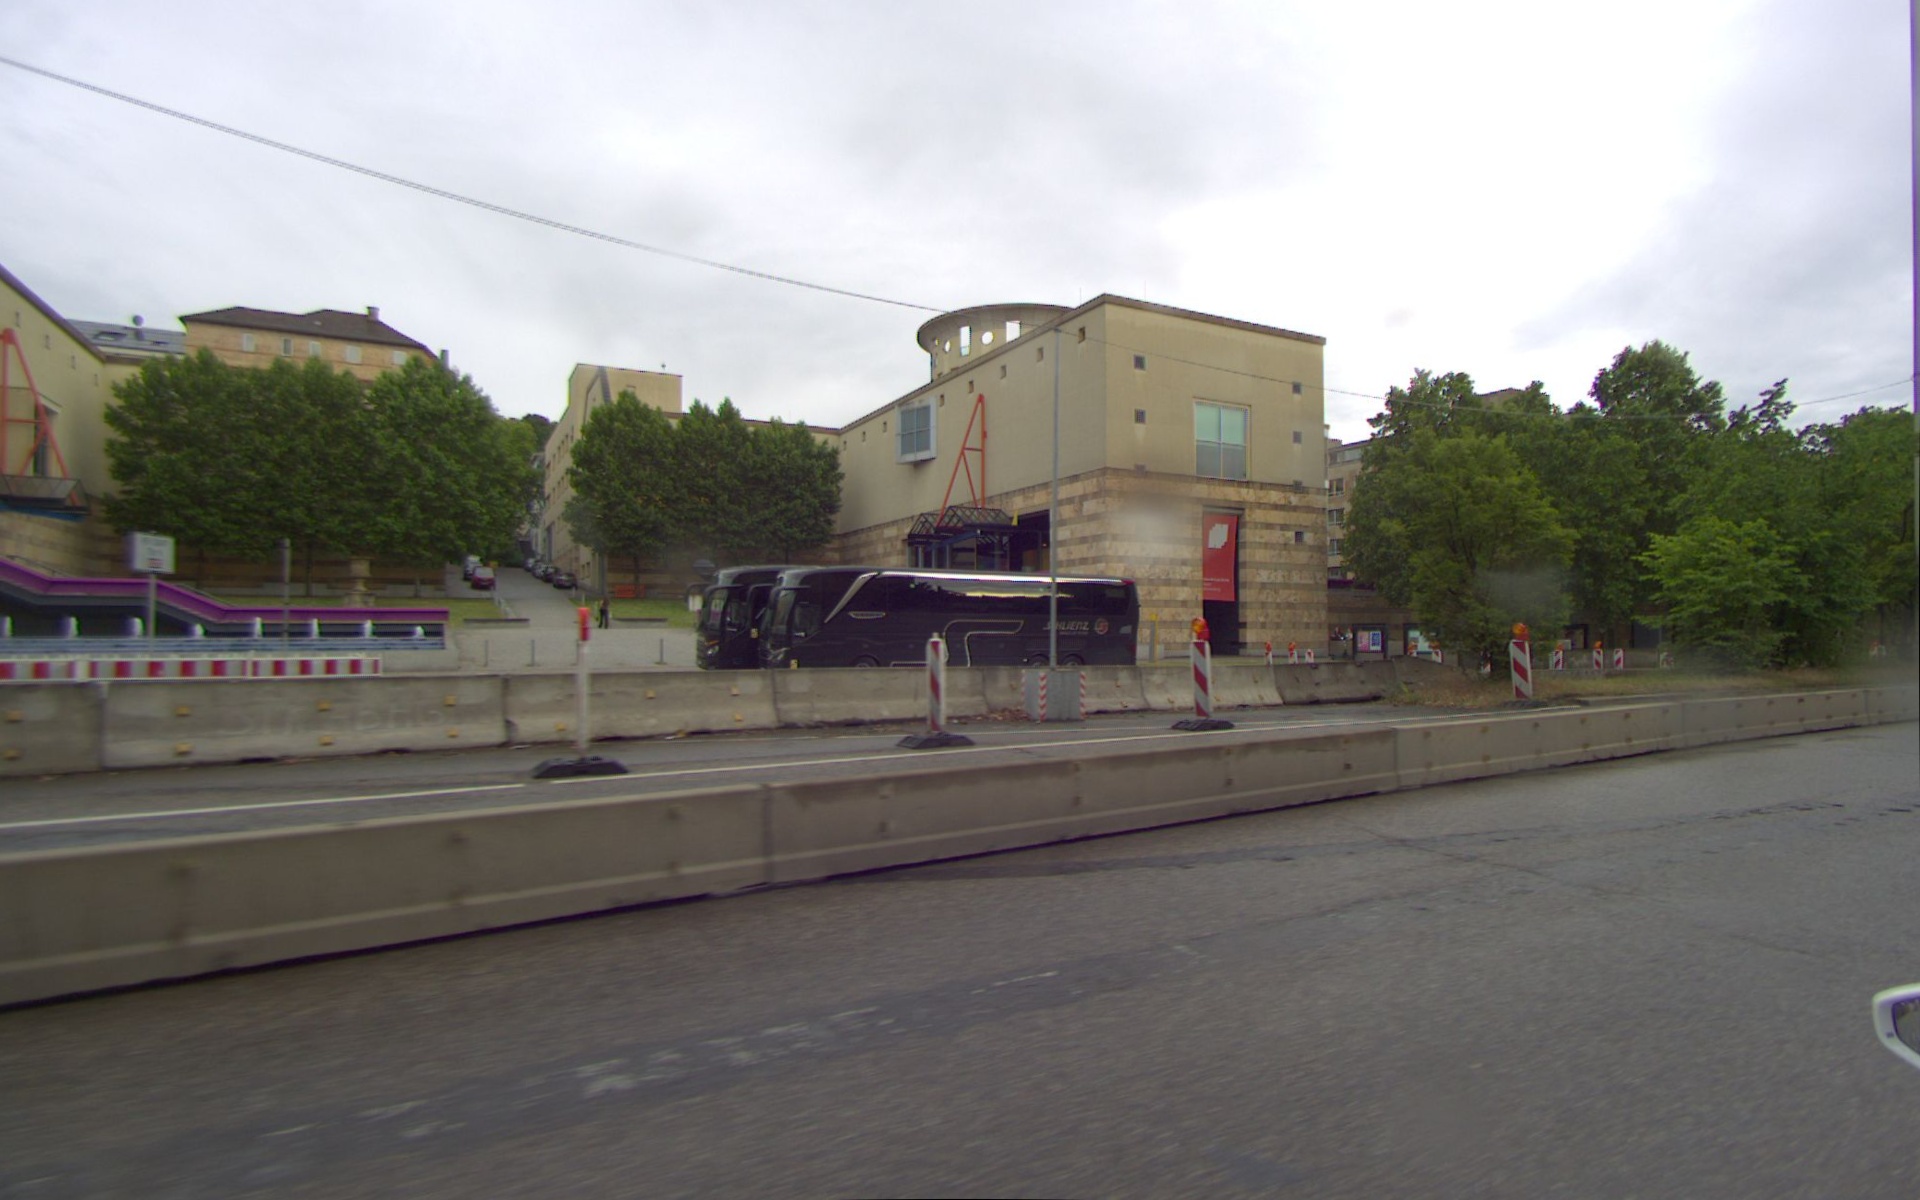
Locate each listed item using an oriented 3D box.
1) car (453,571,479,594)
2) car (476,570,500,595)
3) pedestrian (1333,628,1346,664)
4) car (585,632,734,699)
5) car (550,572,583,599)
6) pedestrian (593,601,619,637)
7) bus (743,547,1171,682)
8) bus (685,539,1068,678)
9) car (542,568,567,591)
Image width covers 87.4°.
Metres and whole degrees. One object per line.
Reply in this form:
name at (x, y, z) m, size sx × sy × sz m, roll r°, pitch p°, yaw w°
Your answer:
car at (-46.907, -1.658, 95.346) m, size 1.793 × 1.805 × 3.968 m, roll 2°, pitch -4°, yaw -31°
car at (-41.199, -1.480, 87.618) m, size 1.681 × 1.817 × 3.934 m, roll 2°, pitch -4°, yaw -29°
pedestrian at (21.959, 2.679, 58.161) m, size 0.505 × 2.039 × 0.476 m, roll 2°, pitch -4°, yaw -28°
car at (-7.291, 1.572, 24.413) m, size 3.179 × 1.520 × 1.583 m, roll 2°, pitch -3°, yaw -32°
car at (-35.562, -1.300, 90.748) m, size 1.979 × 2.039 × 3.965 m, roll 3°, pitch -4°, yaw -33°
pedestrian at (-17.416, 0.932, 49.451) m, size 0.935 × 1.738 × 0.684 m, roll 1°, pitch -1°, yaw 11°
bus at (0.313, 0.566, 33.315) m, size 14.402 × 3.862 × 2.795 m, roll 1°, pitch 0°, yaw -26°
bus at (-2.662, 0.406, 35.635) m, size 13.315 × 4.309 × 3.108 m, roll 1°, pitch 0°, yaw -26°
car at (-41.585, -2.075, 102.979) m, size 1.974 × 2.039 × 3.974 m, roll 2°, pitch -4°, yaw -26°
